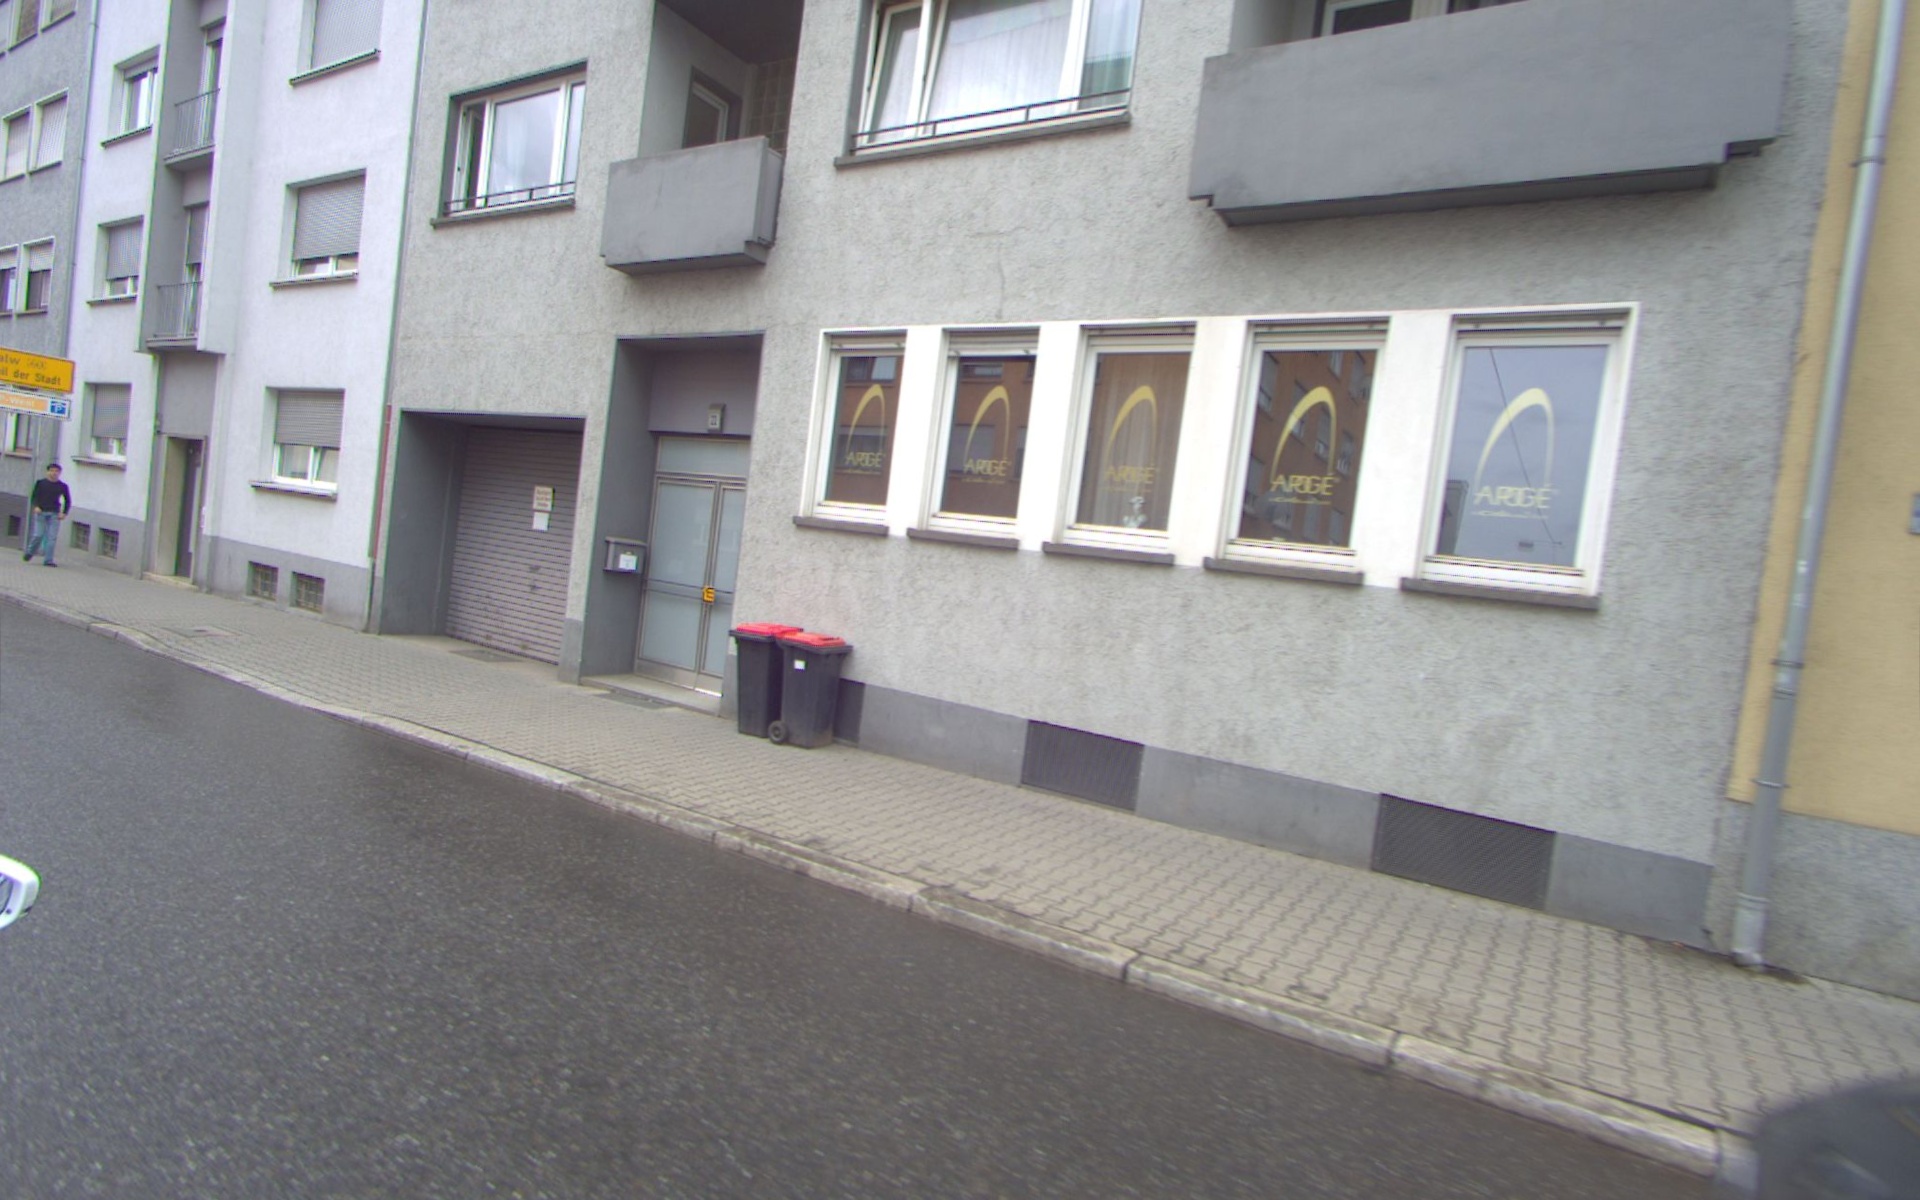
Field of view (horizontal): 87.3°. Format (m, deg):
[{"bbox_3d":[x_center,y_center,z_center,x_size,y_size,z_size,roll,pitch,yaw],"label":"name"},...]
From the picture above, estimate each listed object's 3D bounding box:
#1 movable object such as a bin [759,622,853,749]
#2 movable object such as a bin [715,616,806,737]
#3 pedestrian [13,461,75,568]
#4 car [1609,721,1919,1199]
[{"bbox_3d":[-1.313,0.709,8.556,0.555,0.976,0.472,8,5,34],"label":"movable object such as a bin"},{"bbox_3d":[-1.753,0.651,8.843,0.467,0.976,0.562,8,5,35],"label":"movable object such as a bin"},{"bbox_3d":[-16.140,-1.502,17.724,0.730,1.776,0.654,8,4,38],"label":"pedestrian"},{"bbox_3d":[3.157,1.185,0.595,4.506,1.405,1.737,8,0,32],"label":"car"}]
